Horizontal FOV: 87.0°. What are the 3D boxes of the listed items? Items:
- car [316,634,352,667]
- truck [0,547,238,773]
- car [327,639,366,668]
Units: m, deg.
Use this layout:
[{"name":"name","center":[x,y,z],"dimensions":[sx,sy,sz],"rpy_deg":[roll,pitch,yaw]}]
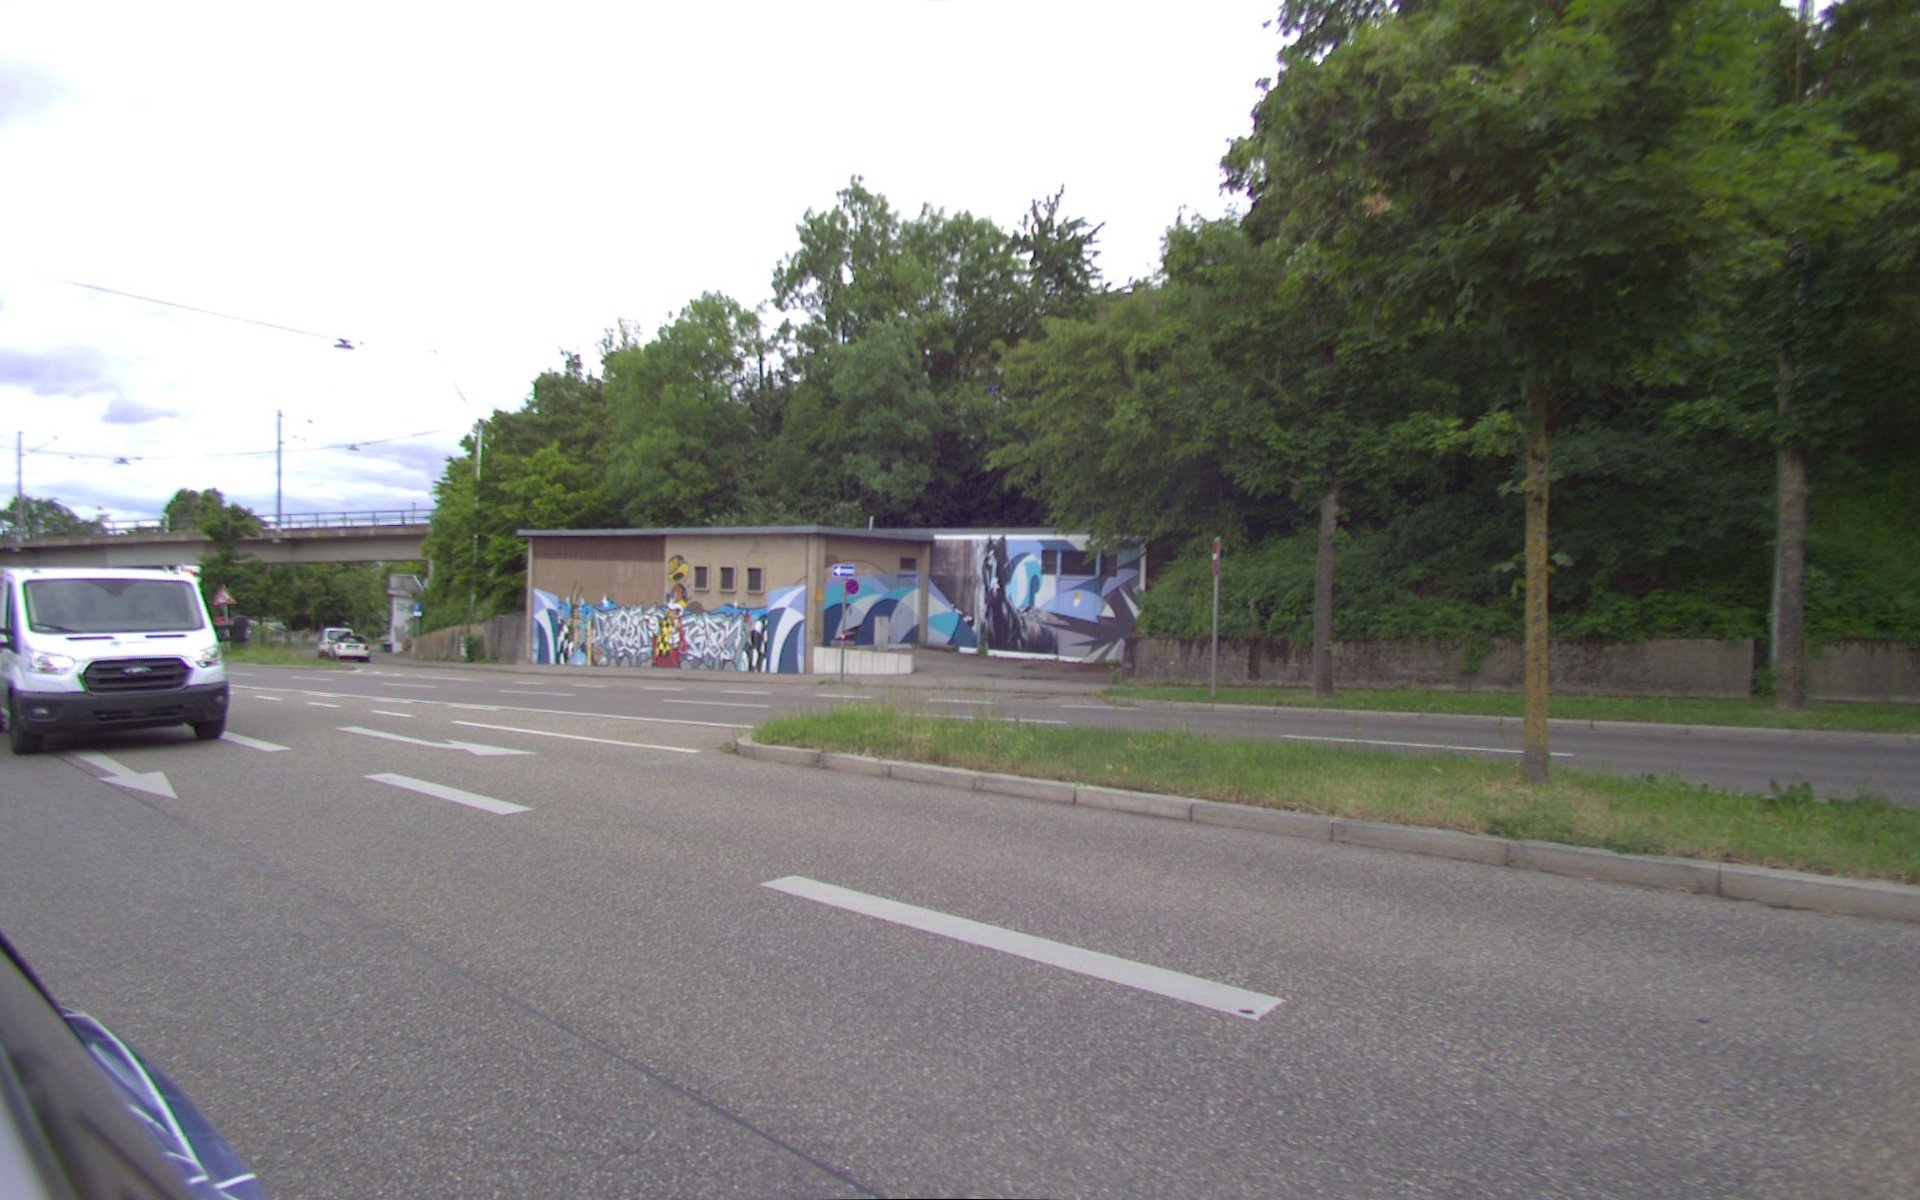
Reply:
[{"name":"car","center":[-37.459,2.965,60.535],"dimensions":[1.610,1.817,4.010],"rpy_deg":[-2,0,-34]},{"name":"truck","center":[-11.649,0.663,13.340],"dimensions":[6.328,2.338,2.054],"rpy_deg":[-1,-1,41]},{"name":"car","center":[-33.624,2.880,55.422],"dimensions":[1.610,1.431,4.010],"rpy_deg":[-2,0,-34]}]
